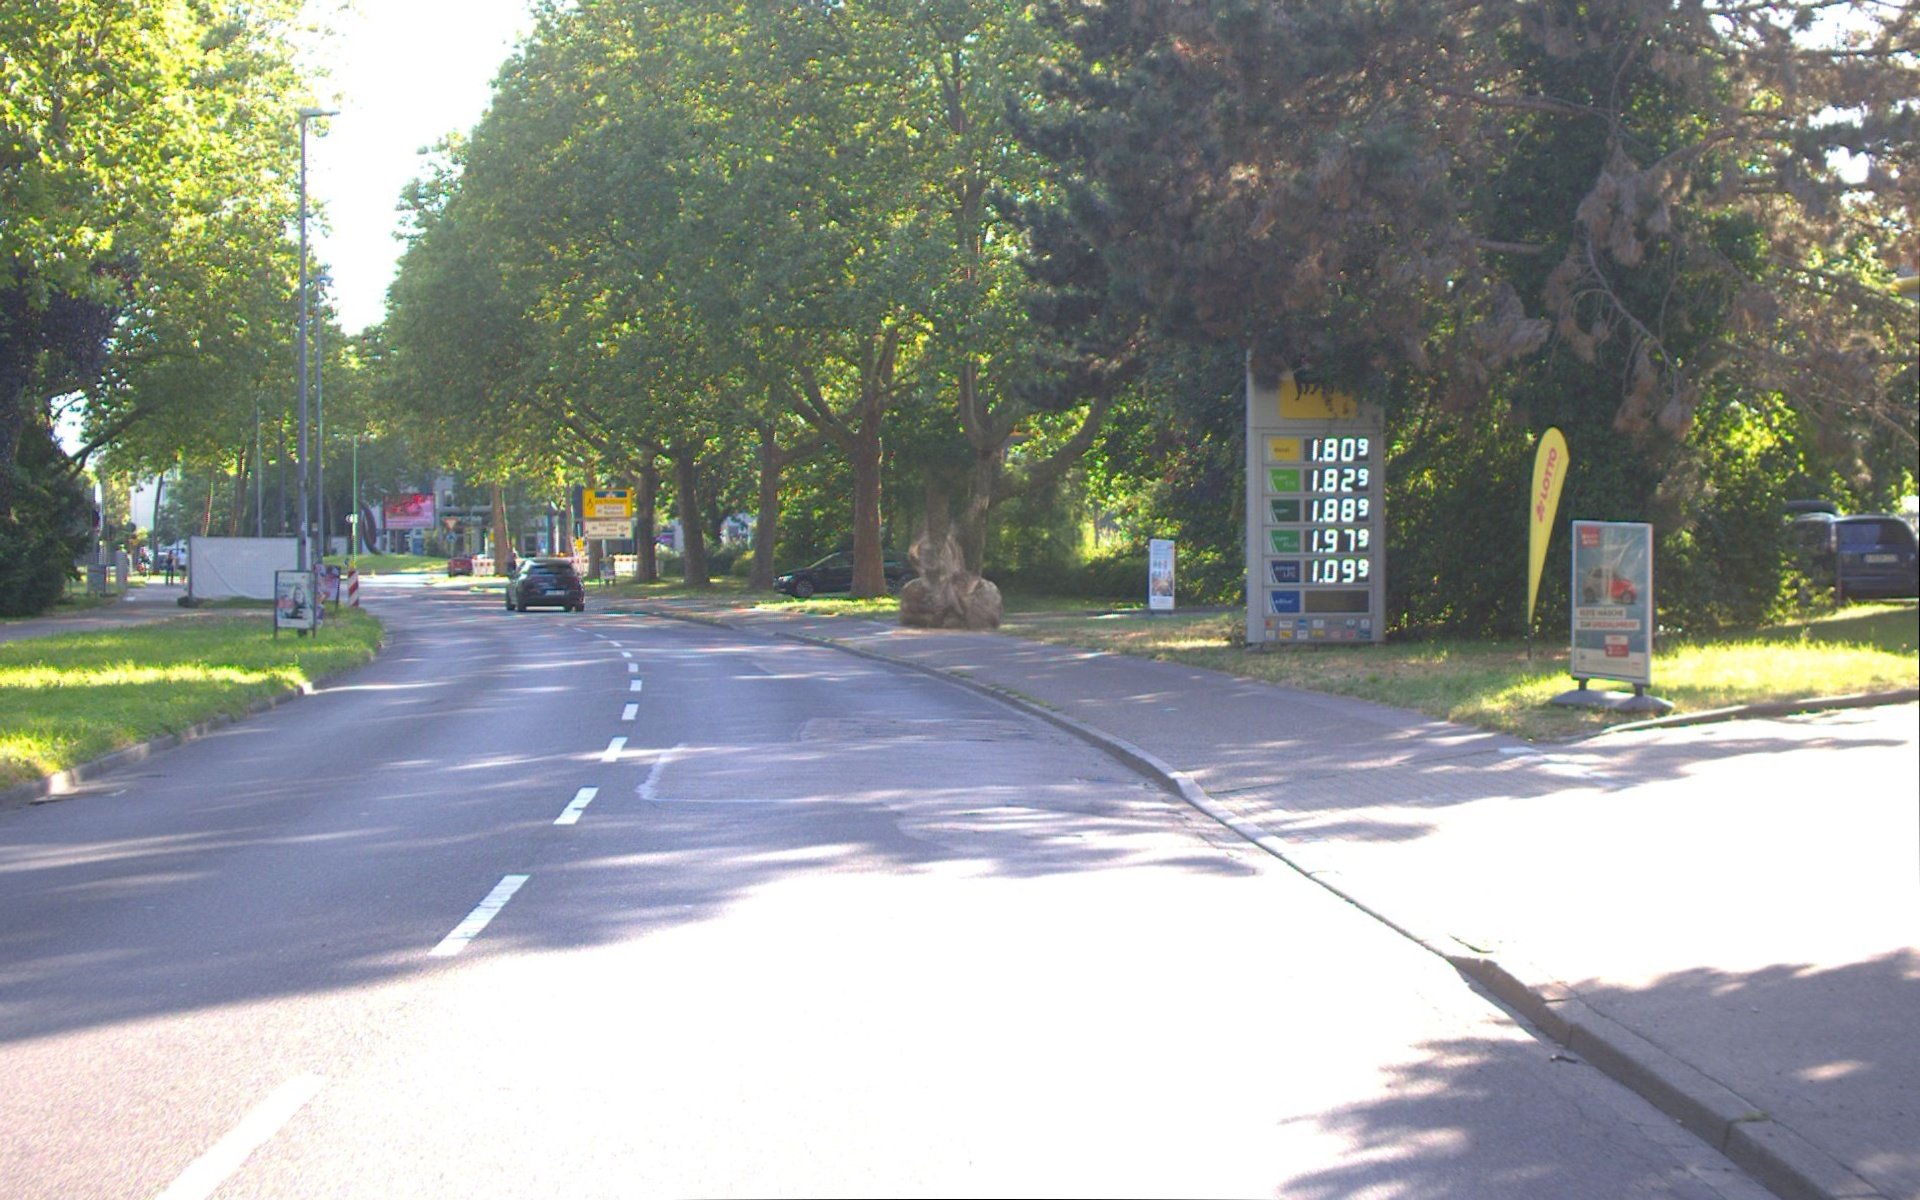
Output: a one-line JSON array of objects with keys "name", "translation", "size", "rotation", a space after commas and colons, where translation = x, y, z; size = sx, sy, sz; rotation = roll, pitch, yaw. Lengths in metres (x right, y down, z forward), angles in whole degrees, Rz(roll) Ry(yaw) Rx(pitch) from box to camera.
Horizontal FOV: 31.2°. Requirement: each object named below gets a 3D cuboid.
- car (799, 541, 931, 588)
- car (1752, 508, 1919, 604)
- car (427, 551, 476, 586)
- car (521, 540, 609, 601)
[{"name": "car", "translation": [-3.043, -1.140, 109.832], "size": [3.986, 1.438, 1.761], "rotation": [-1, 1, -9]}, {"name": "car", "translation": [13.718, -0.696, 53.170], "size": [1.841, 1.415, 4.001], "rotation": [0, 1, -3]}, {"name": "car", "translation": [-29.325, -1.828, 198.455], "size": [1.994, 2.007, 4.000], "rotation": [0, 1, 4]}, {"name": "car", "translation": [-10.720, -0.818, 93.576], "size": [1.839, 1.600, 3.863], "rotation": [0, 1, 2]}]
